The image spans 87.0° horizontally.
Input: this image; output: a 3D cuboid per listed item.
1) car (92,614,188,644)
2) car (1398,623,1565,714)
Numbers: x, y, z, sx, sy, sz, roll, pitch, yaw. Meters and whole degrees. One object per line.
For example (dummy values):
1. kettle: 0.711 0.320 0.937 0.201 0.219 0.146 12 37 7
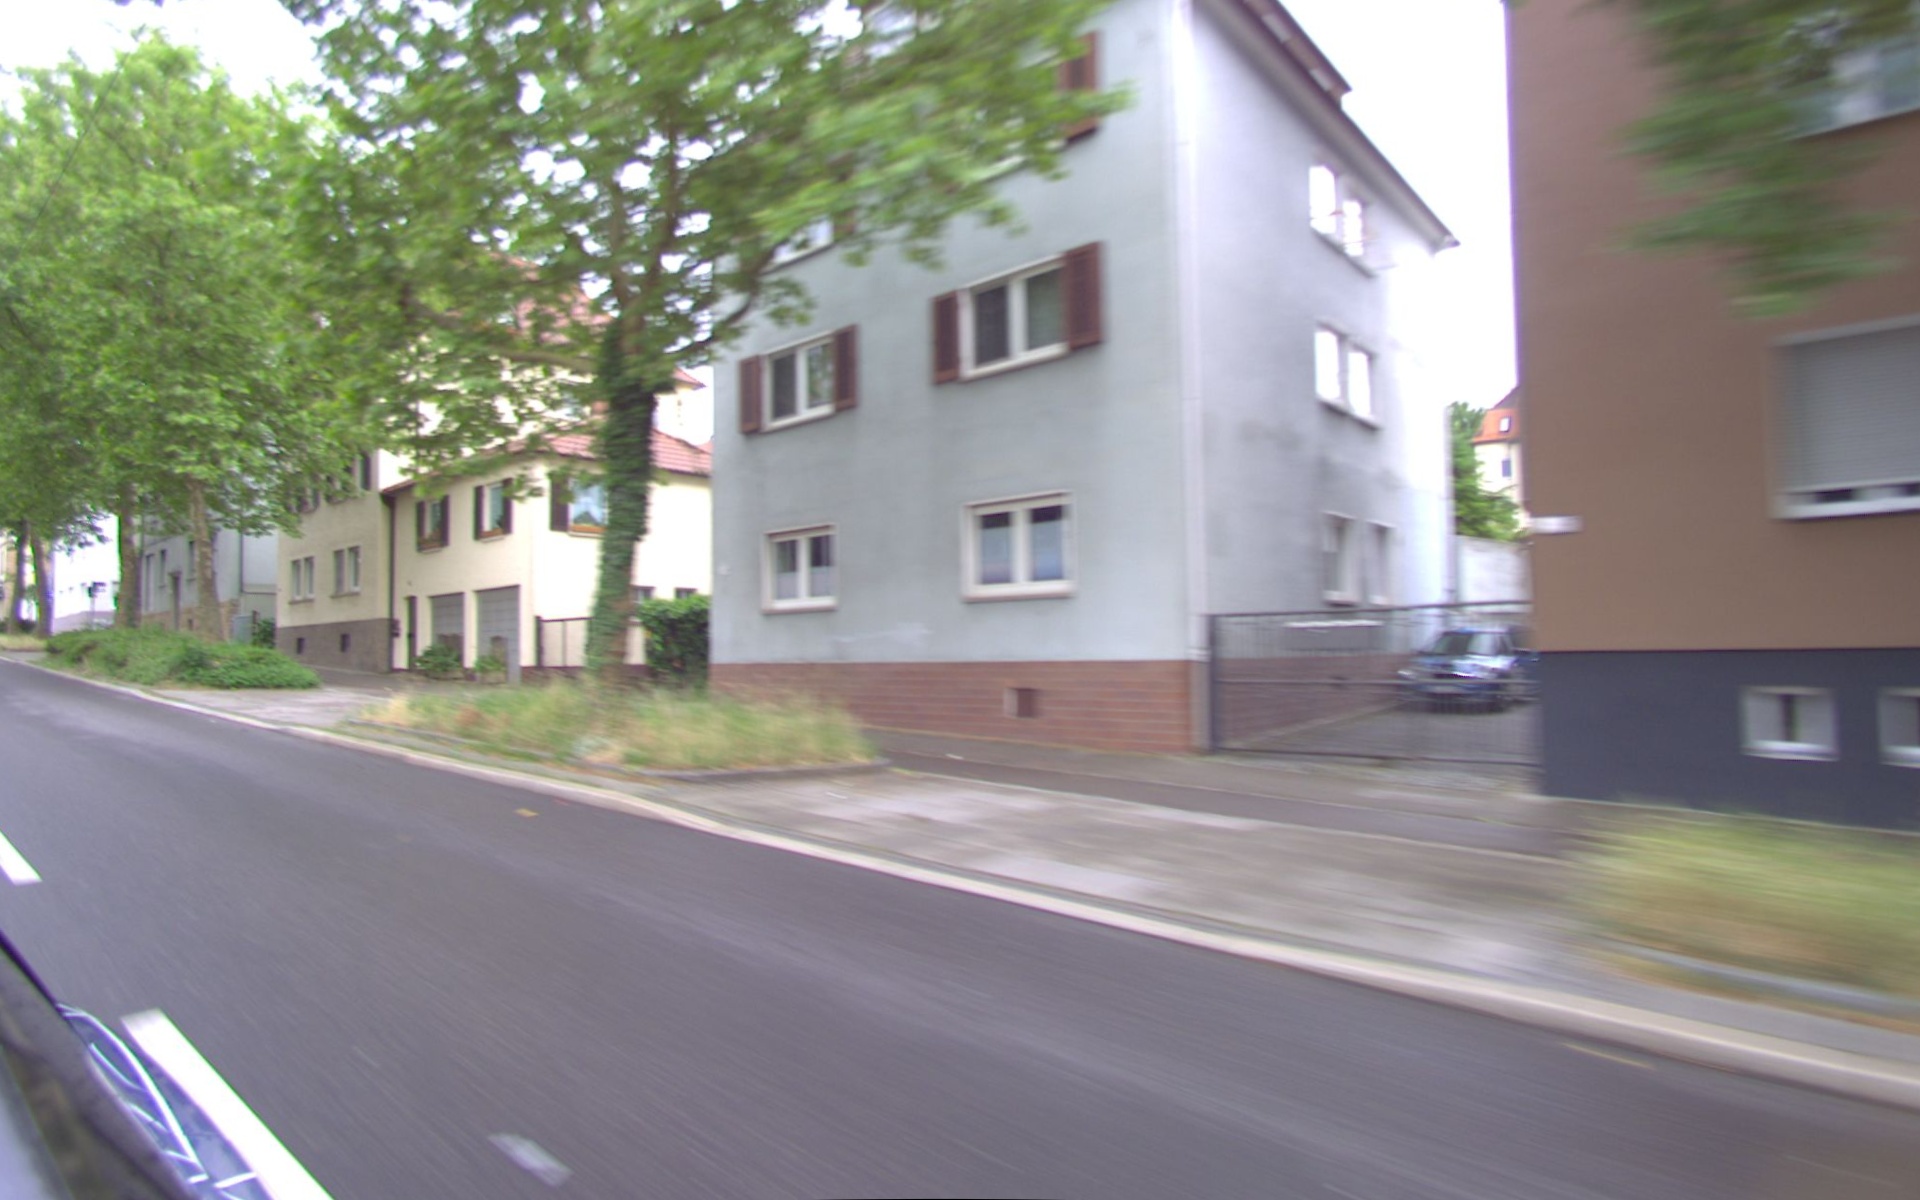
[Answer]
1. car: -47.375 1.643 58.517 1.999 1.464 3.947 -2 1 40
2. car: 9.355 1.137 18.037 1.738 1.444 3.598 -1 -2 43
